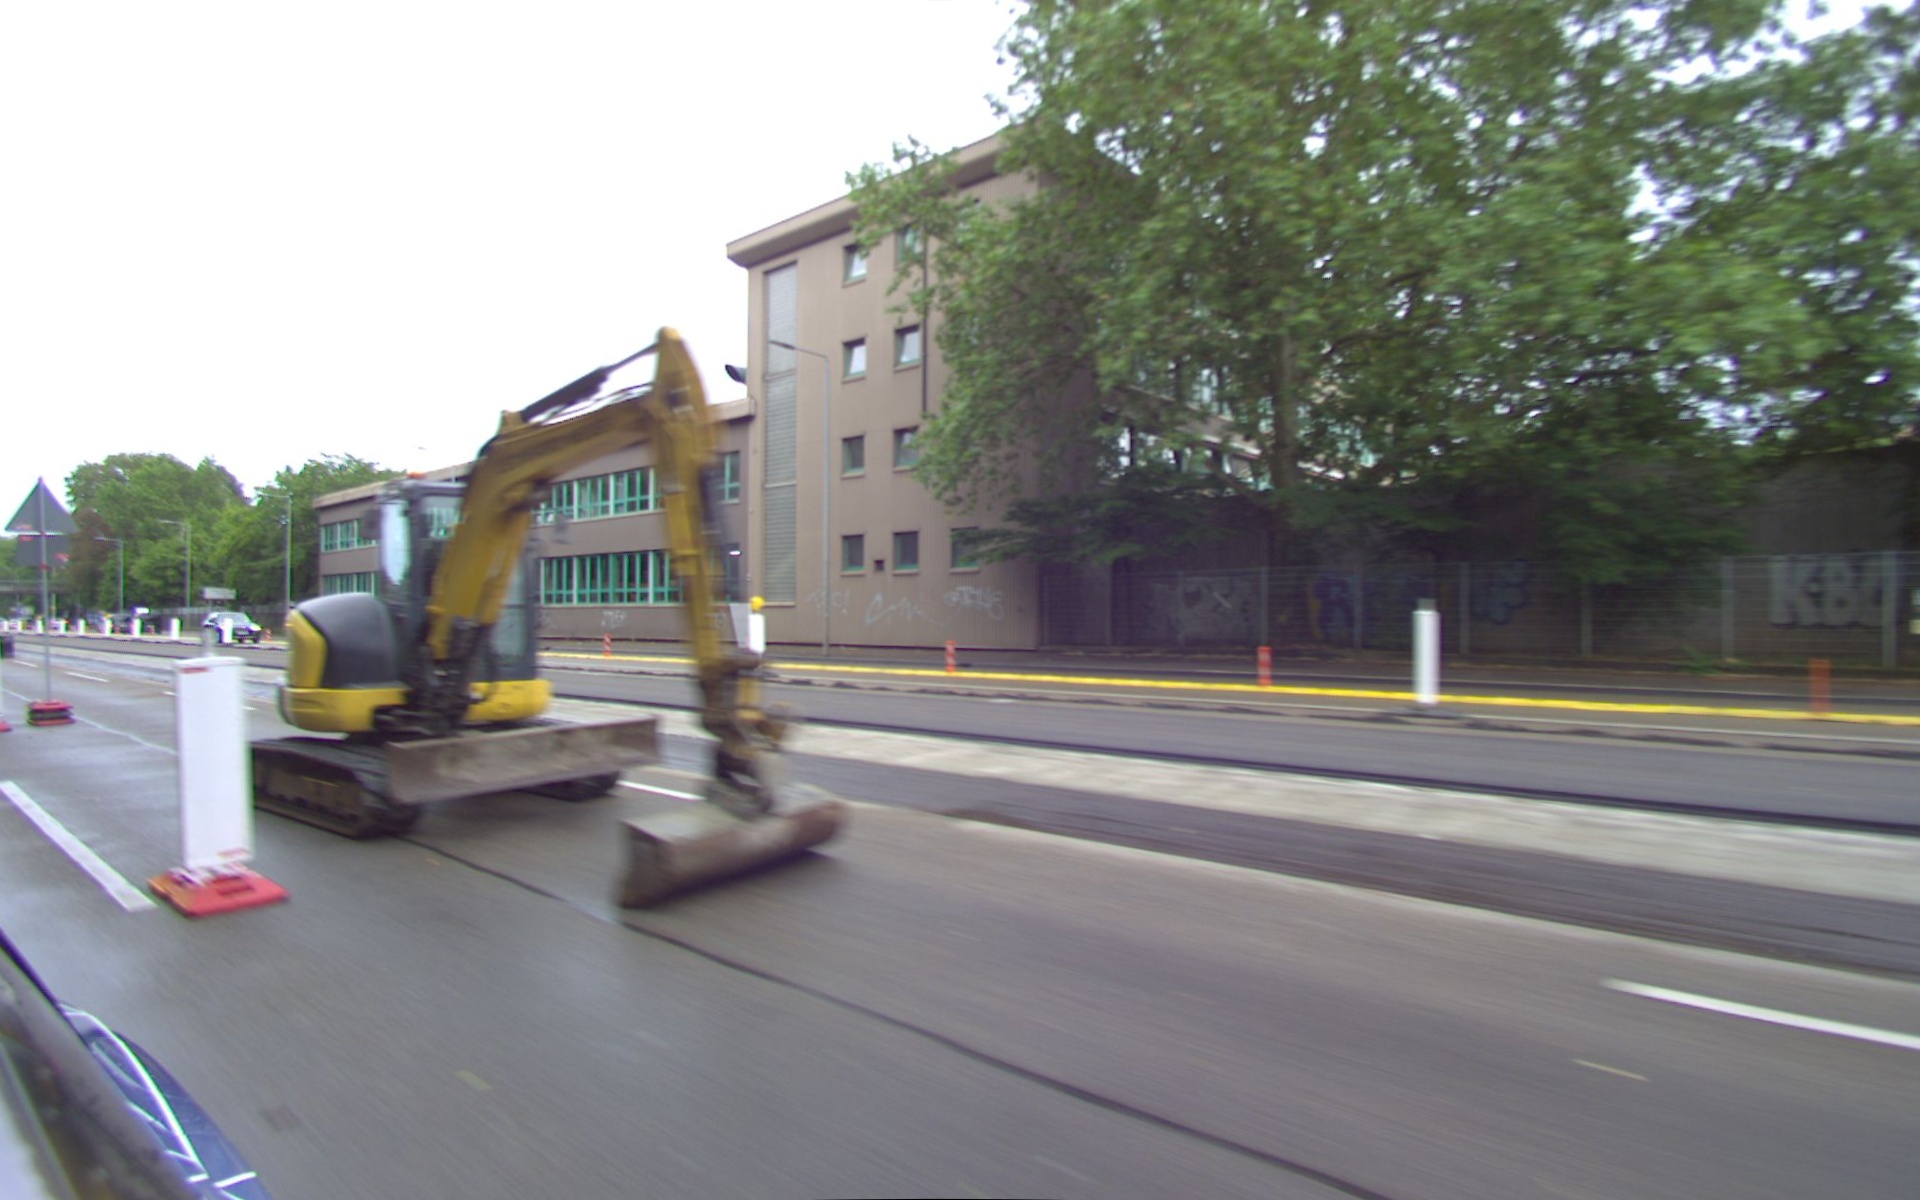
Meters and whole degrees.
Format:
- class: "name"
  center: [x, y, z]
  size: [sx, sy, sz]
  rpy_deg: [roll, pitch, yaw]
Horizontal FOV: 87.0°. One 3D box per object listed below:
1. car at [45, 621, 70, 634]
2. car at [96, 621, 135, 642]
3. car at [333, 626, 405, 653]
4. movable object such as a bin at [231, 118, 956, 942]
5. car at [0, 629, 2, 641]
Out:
- class: "car"
  center: [-116.865, 3.500, 131.032]
  size: [4.177, 1.598, 1.973]
  rpy_deg: [-1, 0, 41]
- class: "car"
  center: [-74.933, 2.792, 89.757]
  size: [4.952, 1.794, 1.972]
  rpy_deg: [-1, 0, 42]
- class: "car"
  center: [-31.994, 2.105, 54.703]
  size: [4.789, 1.358, 1.972]
  rpy_deg: [-1, 0, 42]
- class: "movable object such as a bin"
  center: [-2.930, -0.262, 6.884]
  size: [5.979, 3.393, 1.973]
  rpy_deg: [-1, 0, 41]
- class: "car"
  center: [-143.603, 5.253, 150.088]
  size: [4.674, 1.781, 1.967]
  rpy_deg: [-1, 0, 43]
